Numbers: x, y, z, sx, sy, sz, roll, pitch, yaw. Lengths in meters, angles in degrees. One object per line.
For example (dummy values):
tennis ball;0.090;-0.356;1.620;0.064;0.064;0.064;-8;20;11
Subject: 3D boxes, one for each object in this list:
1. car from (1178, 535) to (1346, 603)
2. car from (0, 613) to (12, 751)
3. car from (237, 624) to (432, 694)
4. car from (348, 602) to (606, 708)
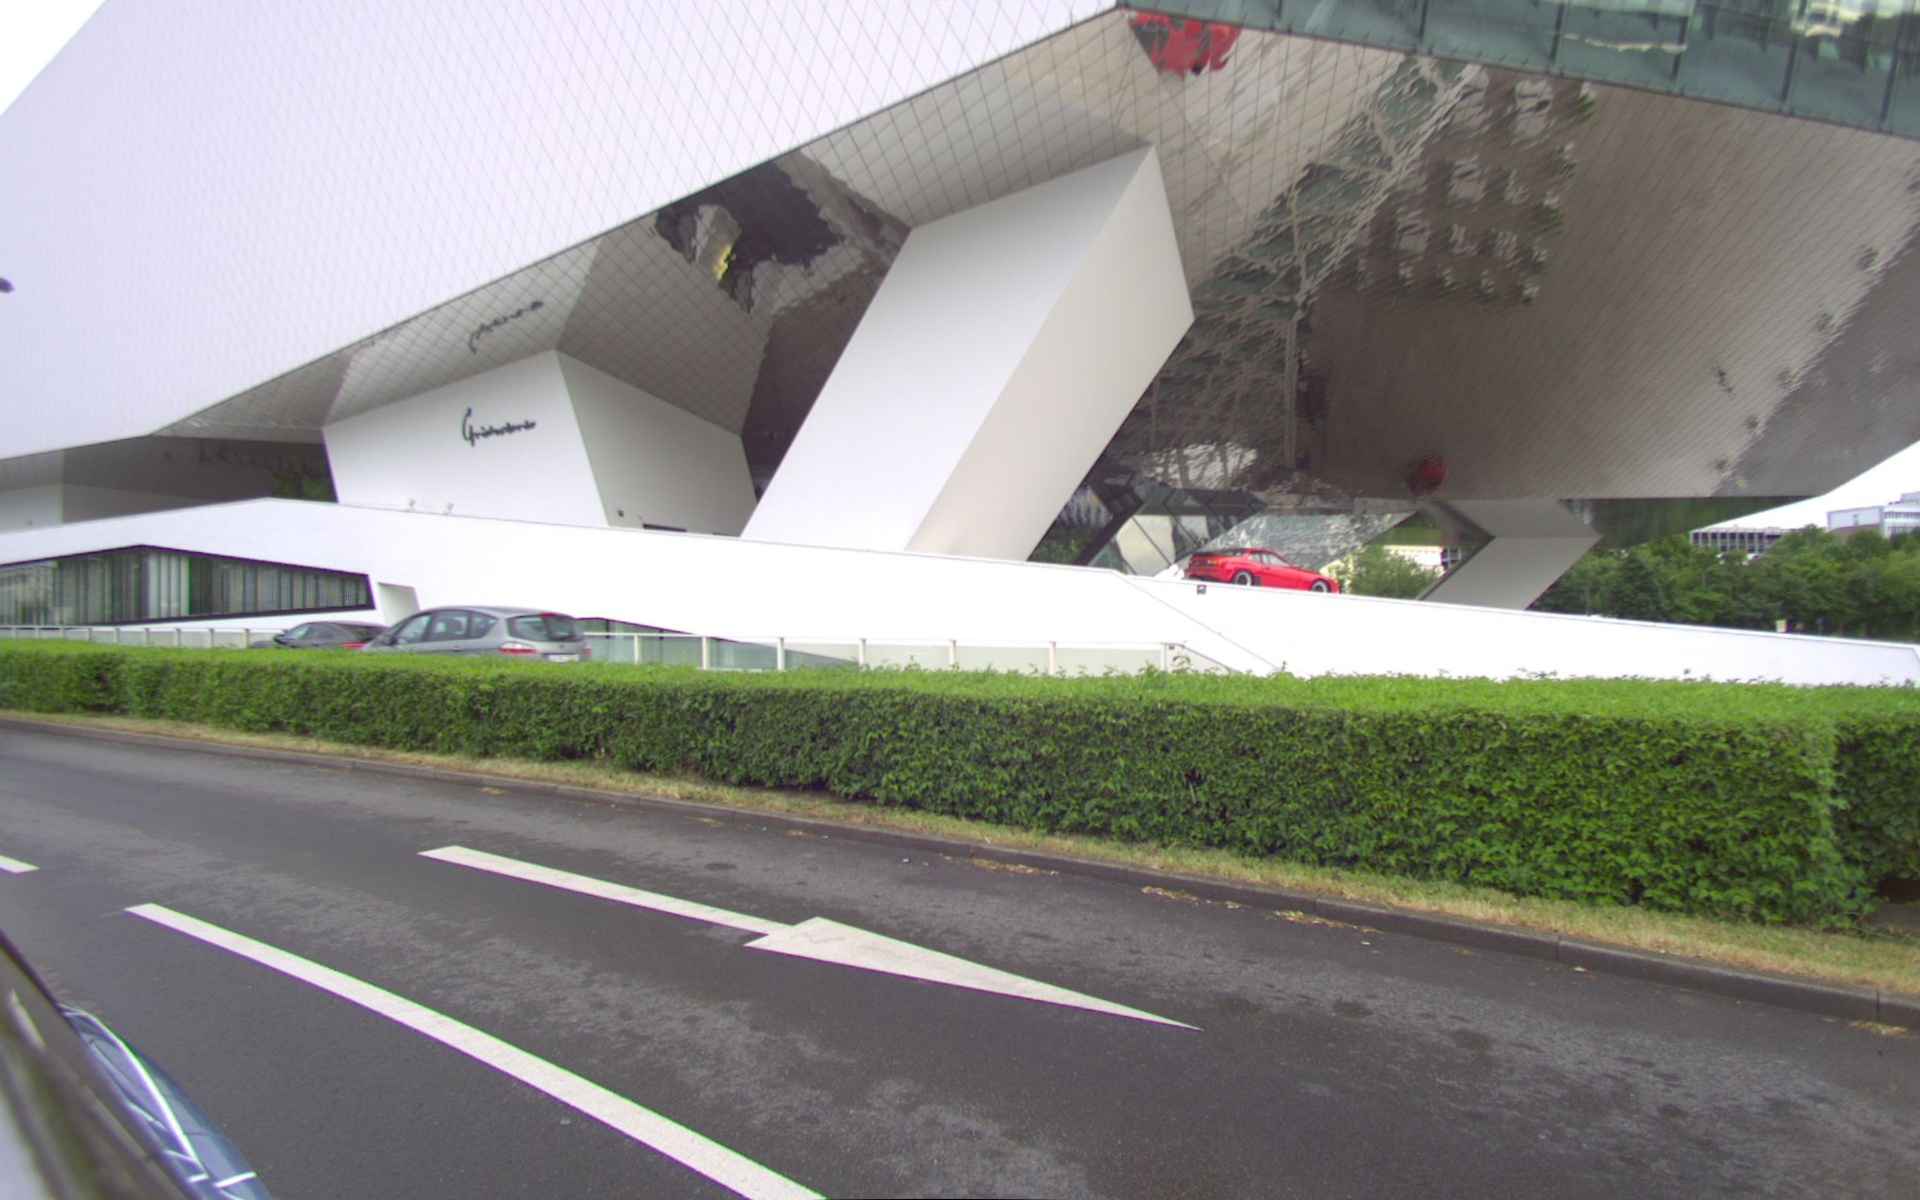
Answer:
car;8.201;-0.794;27.565;4.032;1.252;1.643;7;-4;-15
car;-13.308;0.966;11.906;4.268;1.595;1.825;-1;-1;27
car;-14.442;1.314;23.336;4.491;1.483;1.822;-1;-2;28
car;-7.776;0.838;16.241;3.983;1.505;1.821;-1;-2;30
